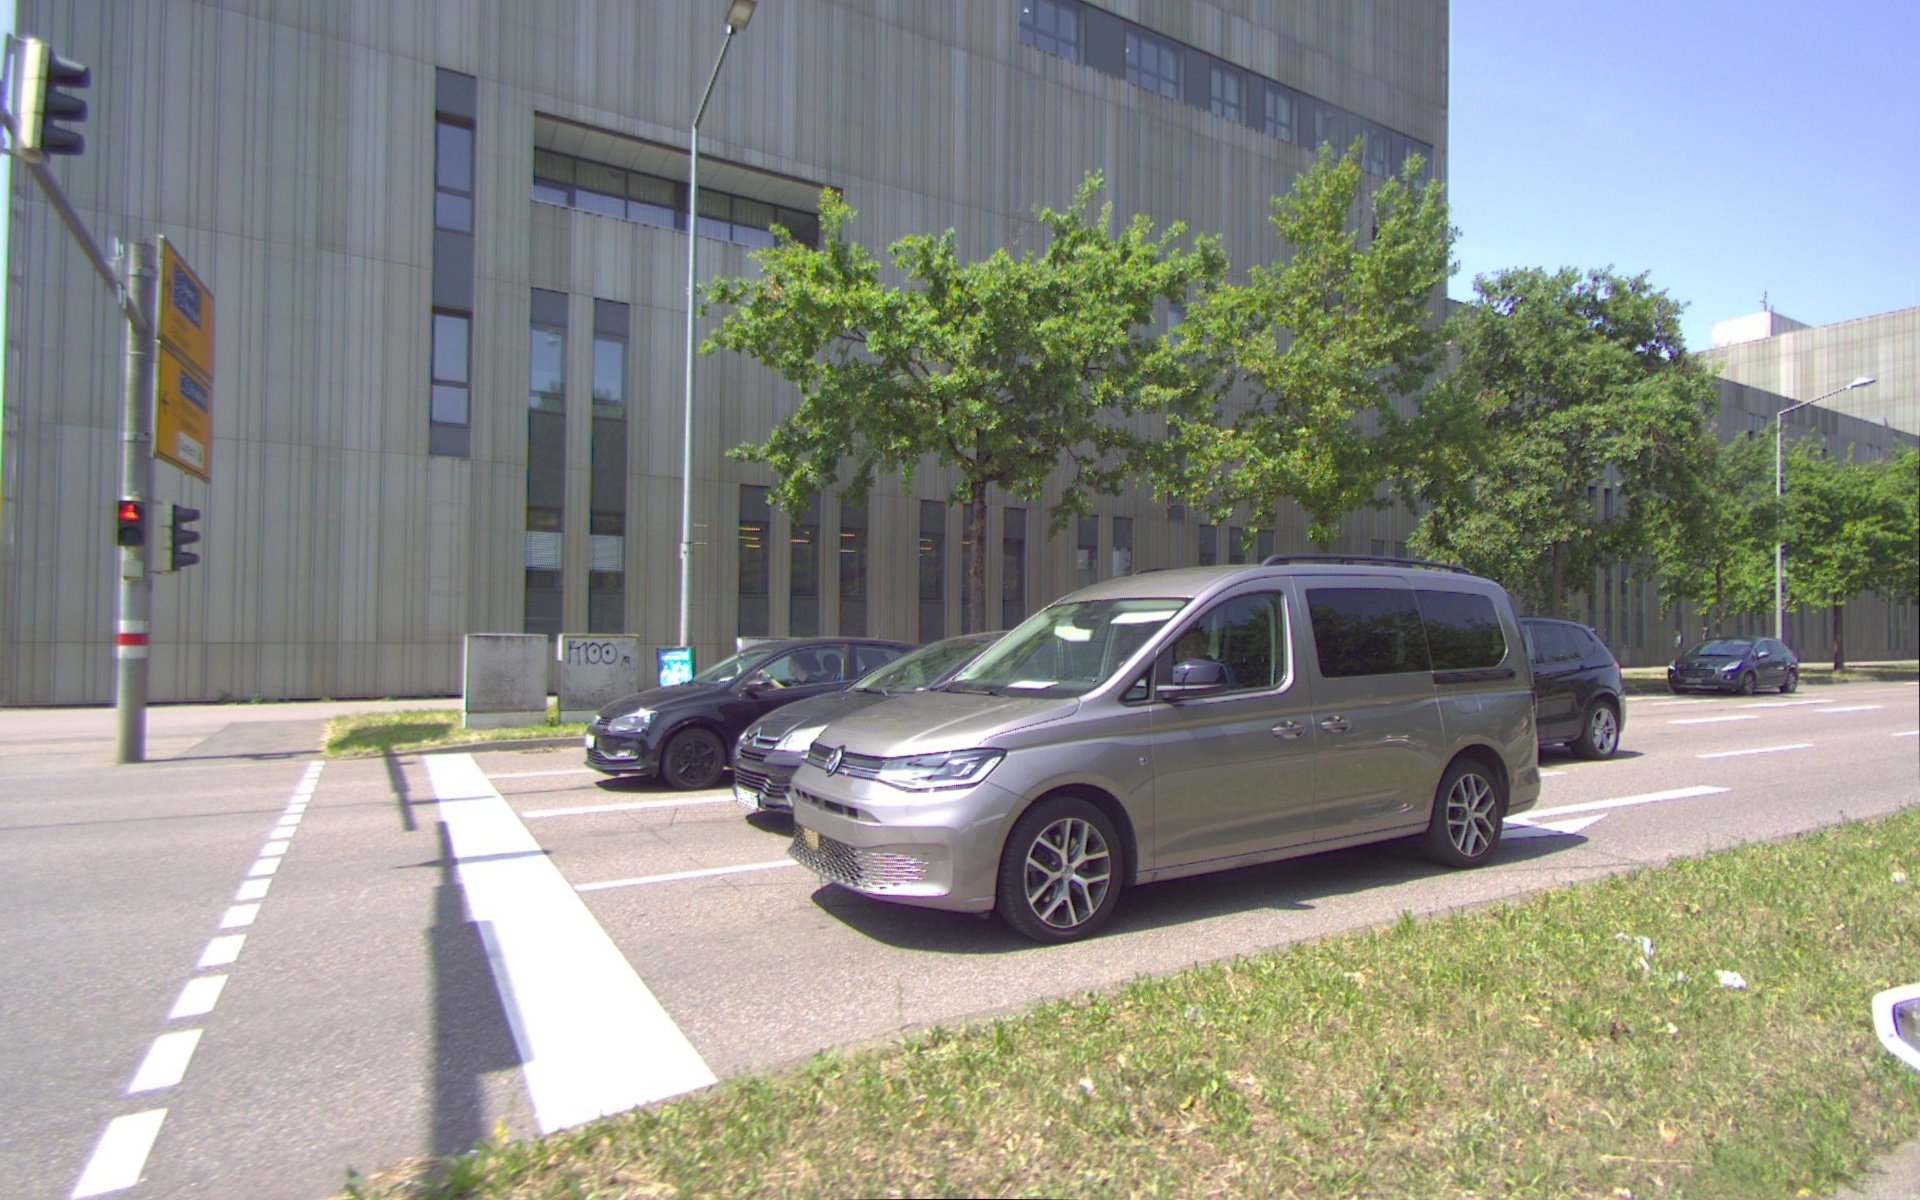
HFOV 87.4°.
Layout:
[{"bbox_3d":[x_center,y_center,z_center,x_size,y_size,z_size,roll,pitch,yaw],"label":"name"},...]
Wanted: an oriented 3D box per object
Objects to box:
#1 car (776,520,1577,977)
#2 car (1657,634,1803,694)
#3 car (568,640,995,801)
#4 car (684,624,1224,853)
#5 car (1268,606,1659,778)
[{"bbox_3d":[1.424,0.667,5.981,4.657,1.824,1.802,1,-3,-30],"label":"car"},{"bbox_3d":[21.641,1.799,28.205,4.322,1.563,1.801,1,-5,-32],"label":"car"},{"bbox_3d":[-1.854,1.149,10.870,4.204,1.435,1.801,1,-2,-32],"label":"car"},{"bbox_3d":[0.046,0.970,8.367,4.204,1.465,1.801,2,-3,-32],"label":"car"},{"bbox_3d":[5.933,0.996,11.740,4.516,1.684,1.796,1,-3,-28],"label":"car"}]
